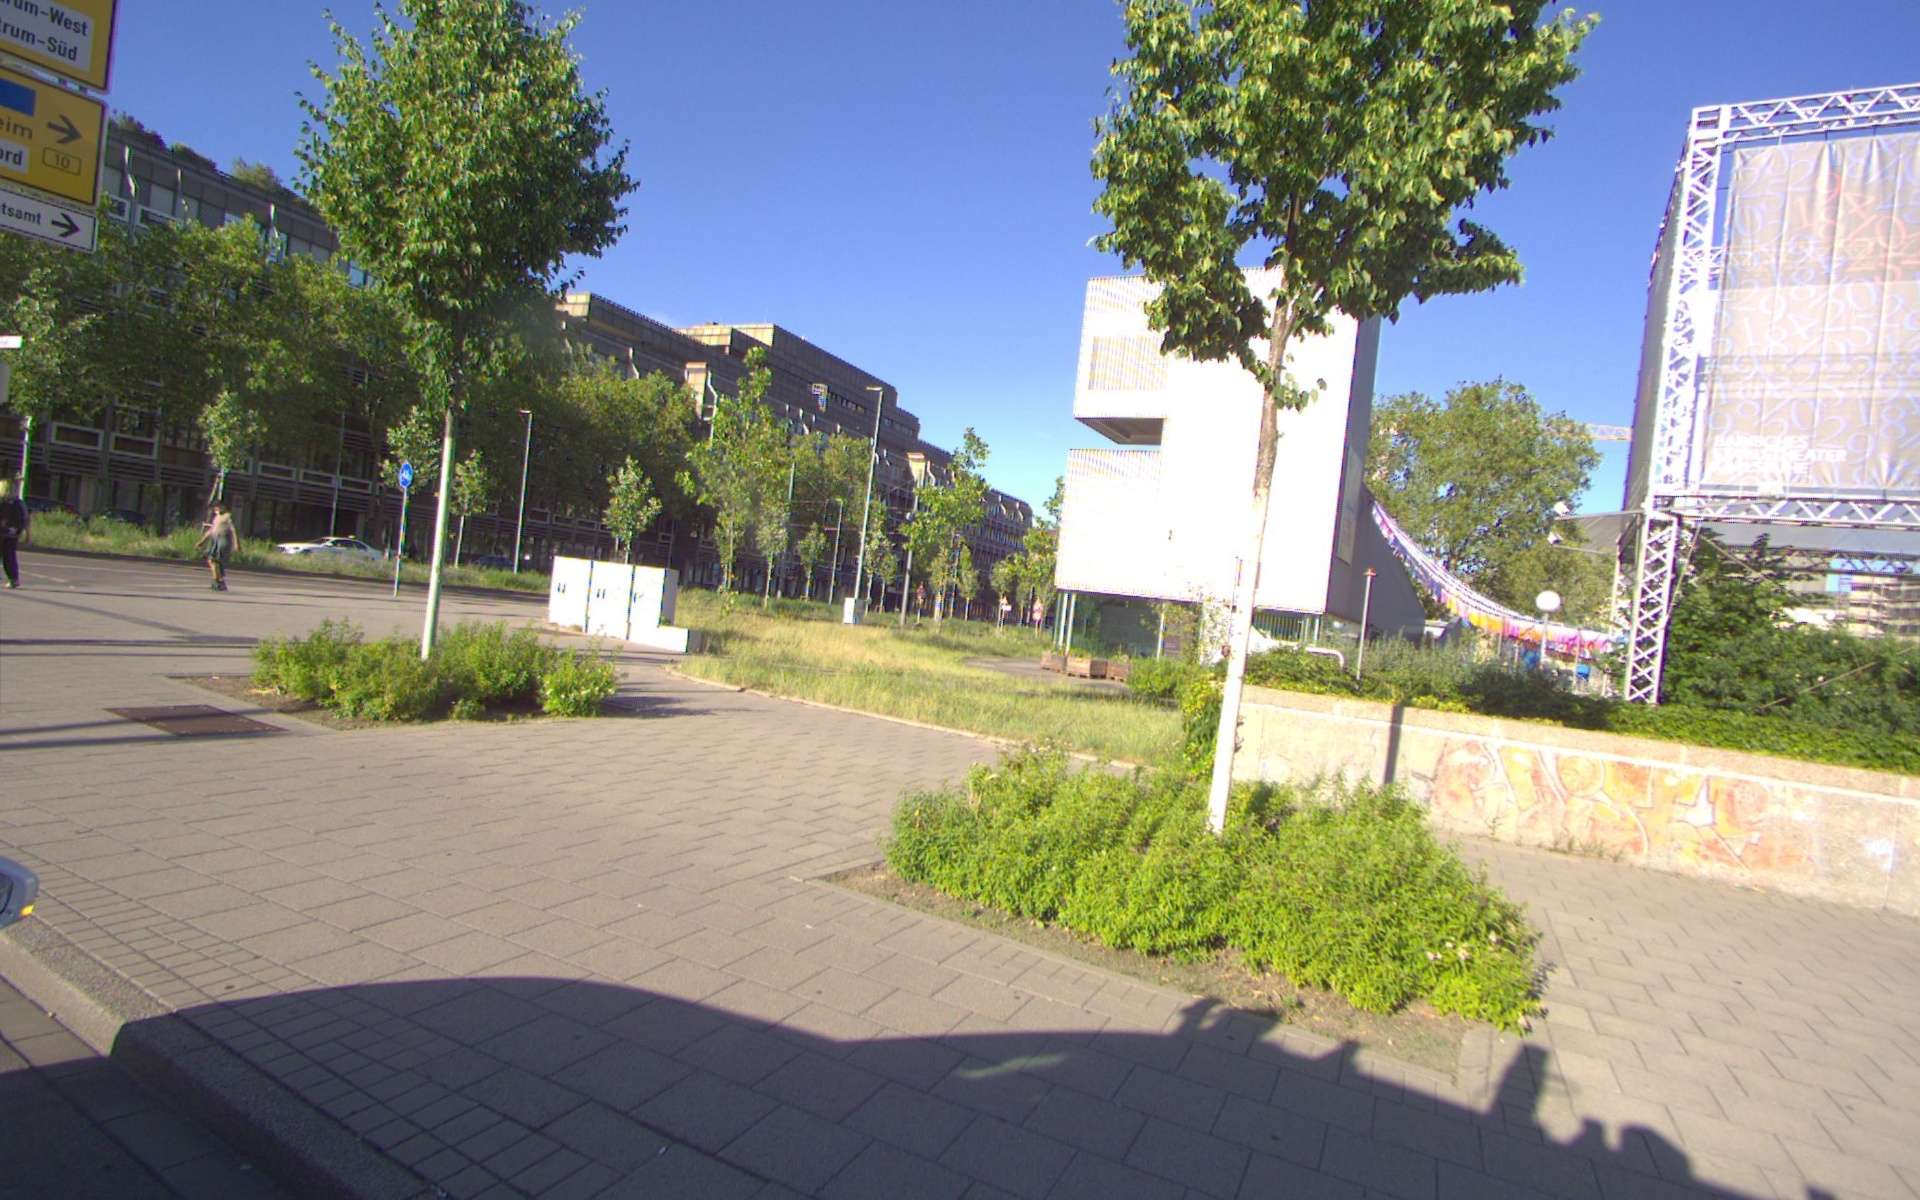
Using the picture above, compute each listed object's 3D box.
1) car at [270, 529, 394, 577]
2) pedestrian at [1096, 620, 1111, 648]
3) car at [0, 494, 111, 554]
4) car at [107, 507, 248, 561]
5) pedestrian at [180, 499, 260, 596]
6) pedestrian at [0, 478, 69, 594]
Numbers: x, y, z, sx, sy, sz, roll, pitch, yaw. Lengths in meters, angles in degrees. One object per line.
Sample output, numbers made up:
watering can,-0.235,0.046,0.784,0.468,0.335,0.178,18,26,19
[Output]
car,-31.026,-2.279,49.833,1.794,1.704,4.854,7,-1,28
pedestrian,8.542,2.008,59.906,0.520,1.571,0.638,7,-1,31
car,-33.183,-2.776,35.648,1.792,1.704,4.302,7,-1,21
car,-34.070,-2.835,43.920,1.794,1.704,4.412,7,-1,29
pedestrian,-14.184,-0.999,19.299,0.755,1.728,0.873,7,1,30
pedestrian,-14.150,-0.969,15.026,0.857,1.634,0.768,7,0,9
